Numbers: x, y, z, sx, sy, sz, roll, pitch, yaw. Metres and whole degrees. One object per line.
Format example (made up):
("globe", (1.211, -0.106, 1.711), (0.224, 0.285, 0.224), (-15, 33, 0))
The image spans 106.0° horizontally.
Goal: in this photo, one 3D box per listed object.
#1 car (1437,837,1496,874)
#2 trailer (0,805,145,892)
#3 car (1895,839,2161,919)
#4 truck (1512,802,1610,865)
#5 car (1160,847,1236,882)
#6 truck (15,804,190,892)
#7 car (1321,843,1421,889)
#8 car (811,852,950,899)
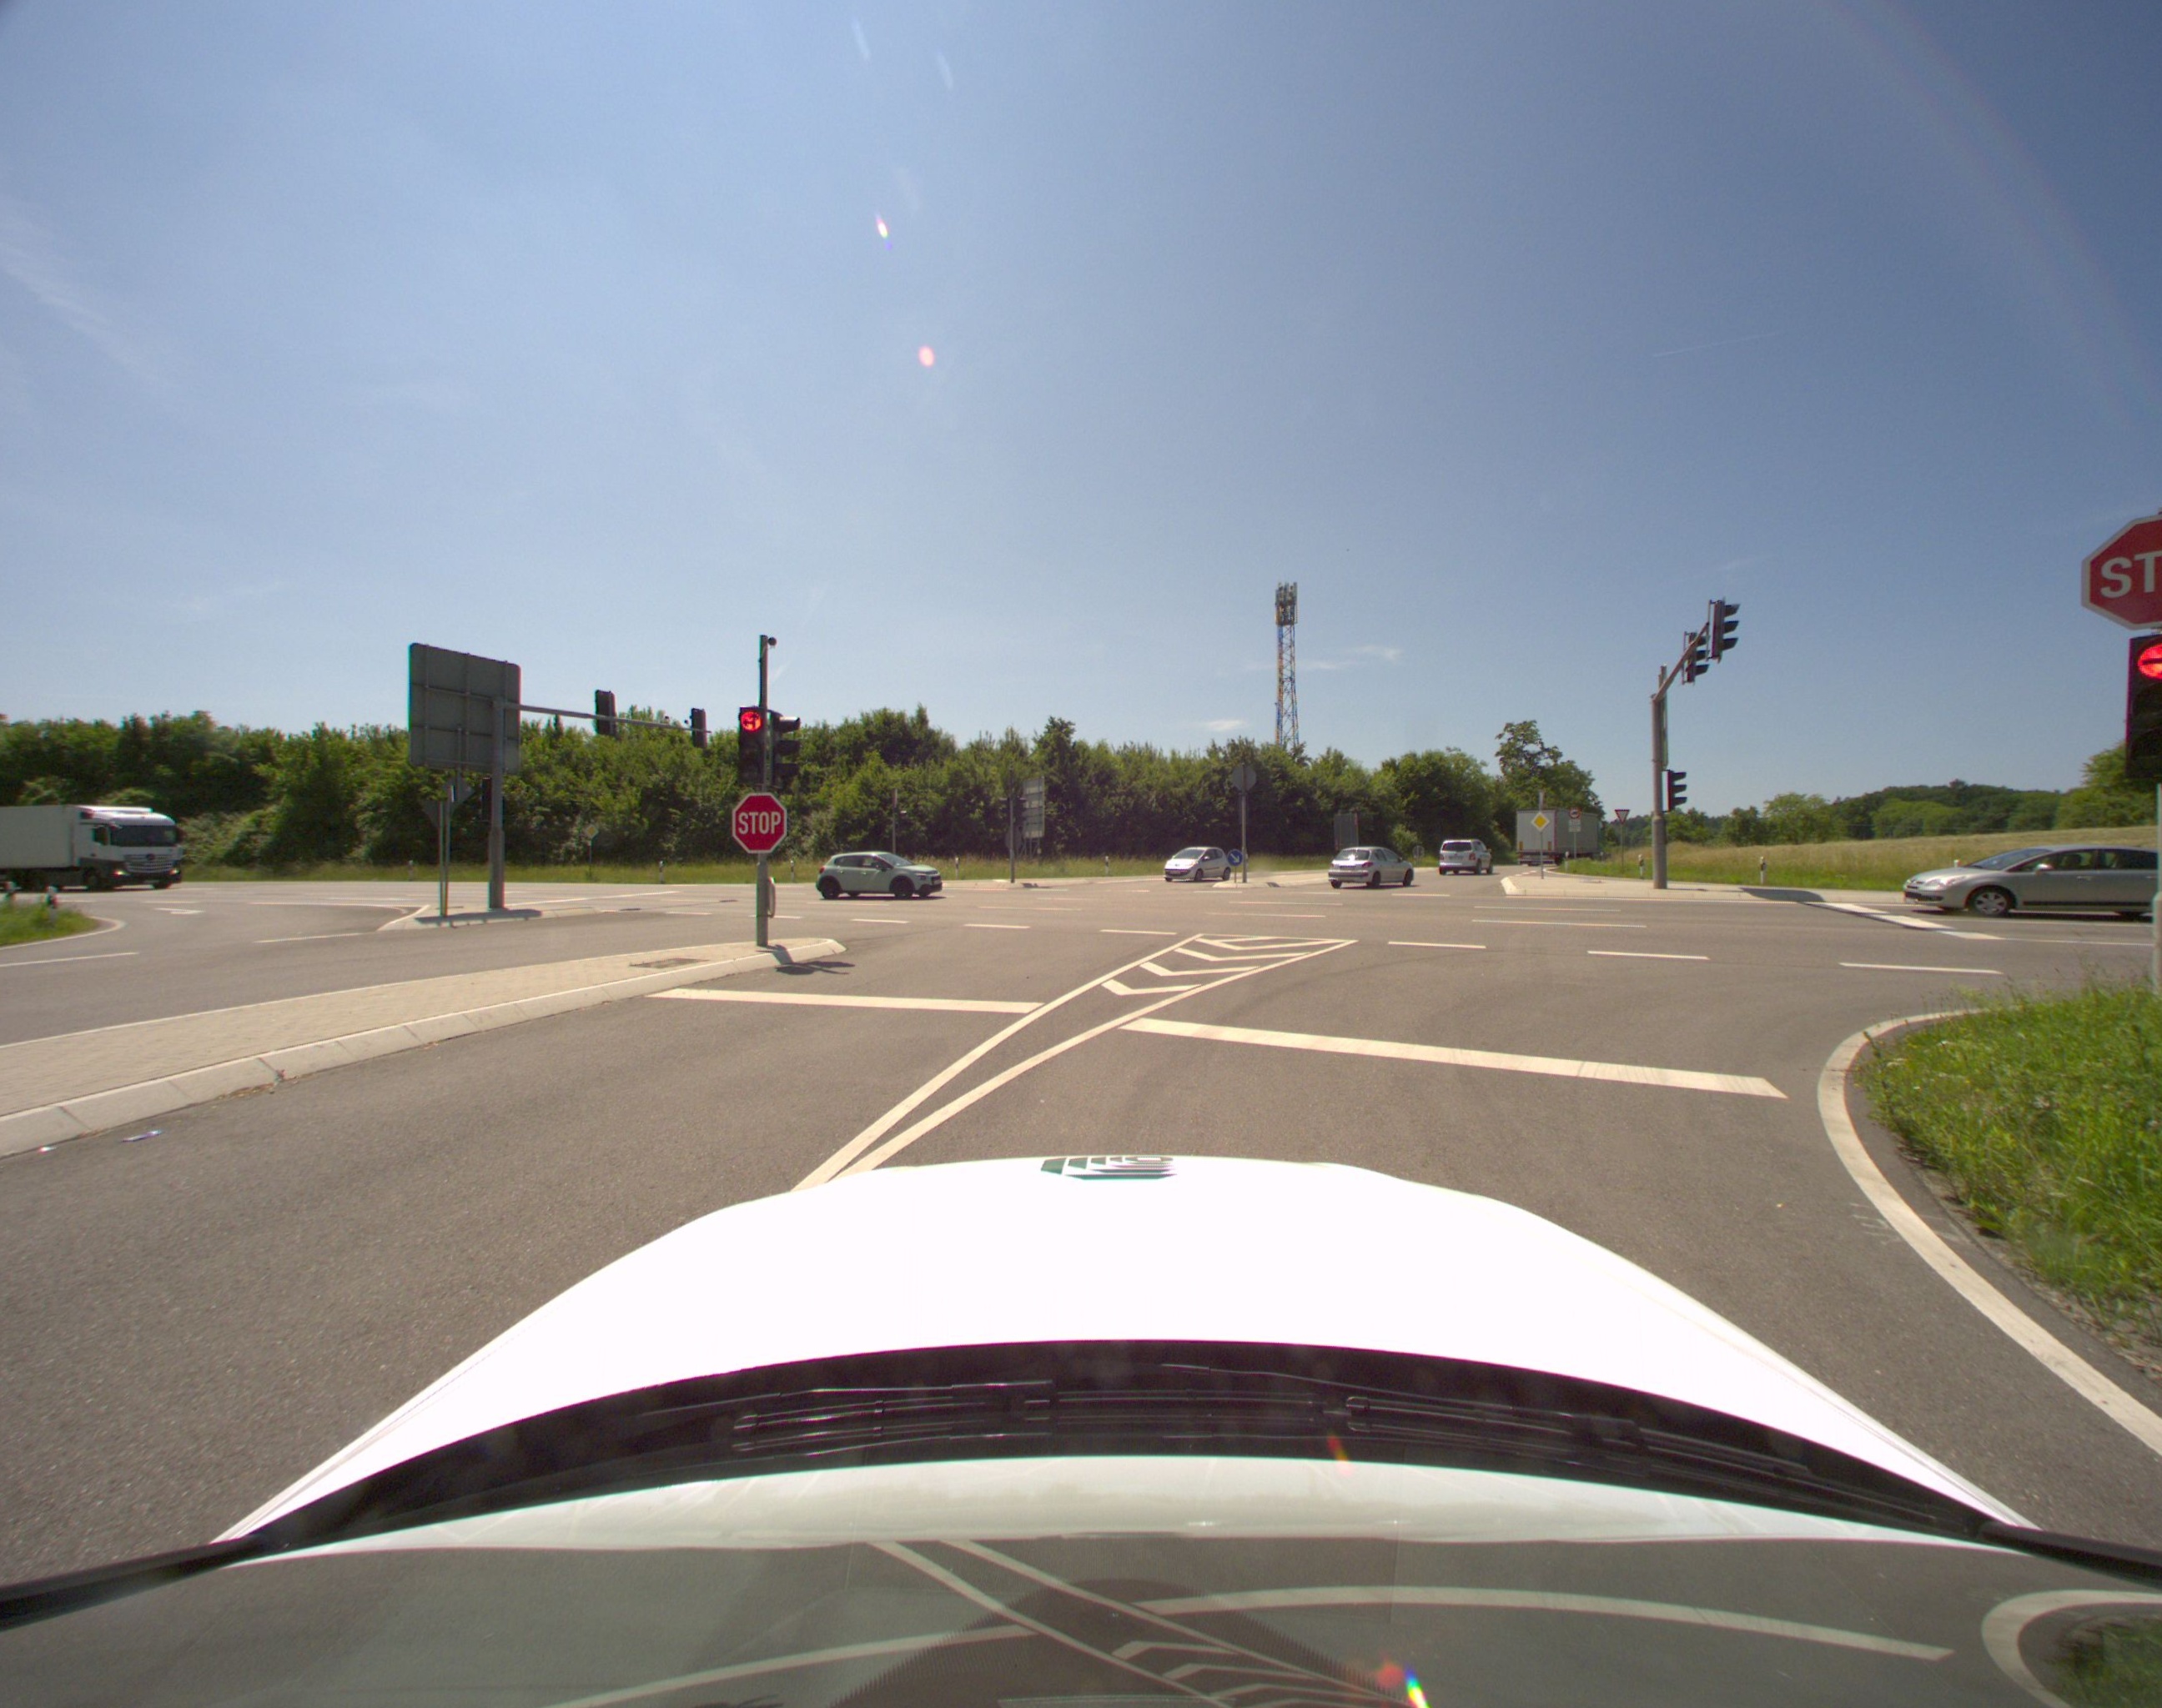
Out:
("car", (18.384, 0.029, 38.766), (1.795, 1.625, 4.086), (-1, 1, 36))
("trailer", (-53.232, -0.242, 40.303), (13.699, 4.036, 2.670), (0, 1, 12))
("car", (19.862, 0.462, 16.721), (4.117, 1.469, 1.740), (0, 2, 28))
("truck", (36.620, -1.416, 61.598), (3.096, 4.172, 16.788), (-1, 0, 42))
("car", (5.030, 0.403, 34.731), (1.550, 1.370, 3.553), (0, 1, 40))
("truck", (-46.687, -0.266, 38.931), (6.218, 4.036, 2.670), (-1, 1, 12))
("car", (10.257, 0.376, 28.702), (3.805, 1.413, 1.796), (-2, 1, -44))
("car", (-6.422, 0.679, 26.205), (3.945, 1.404, 1.741), (-1, 1, 14))
